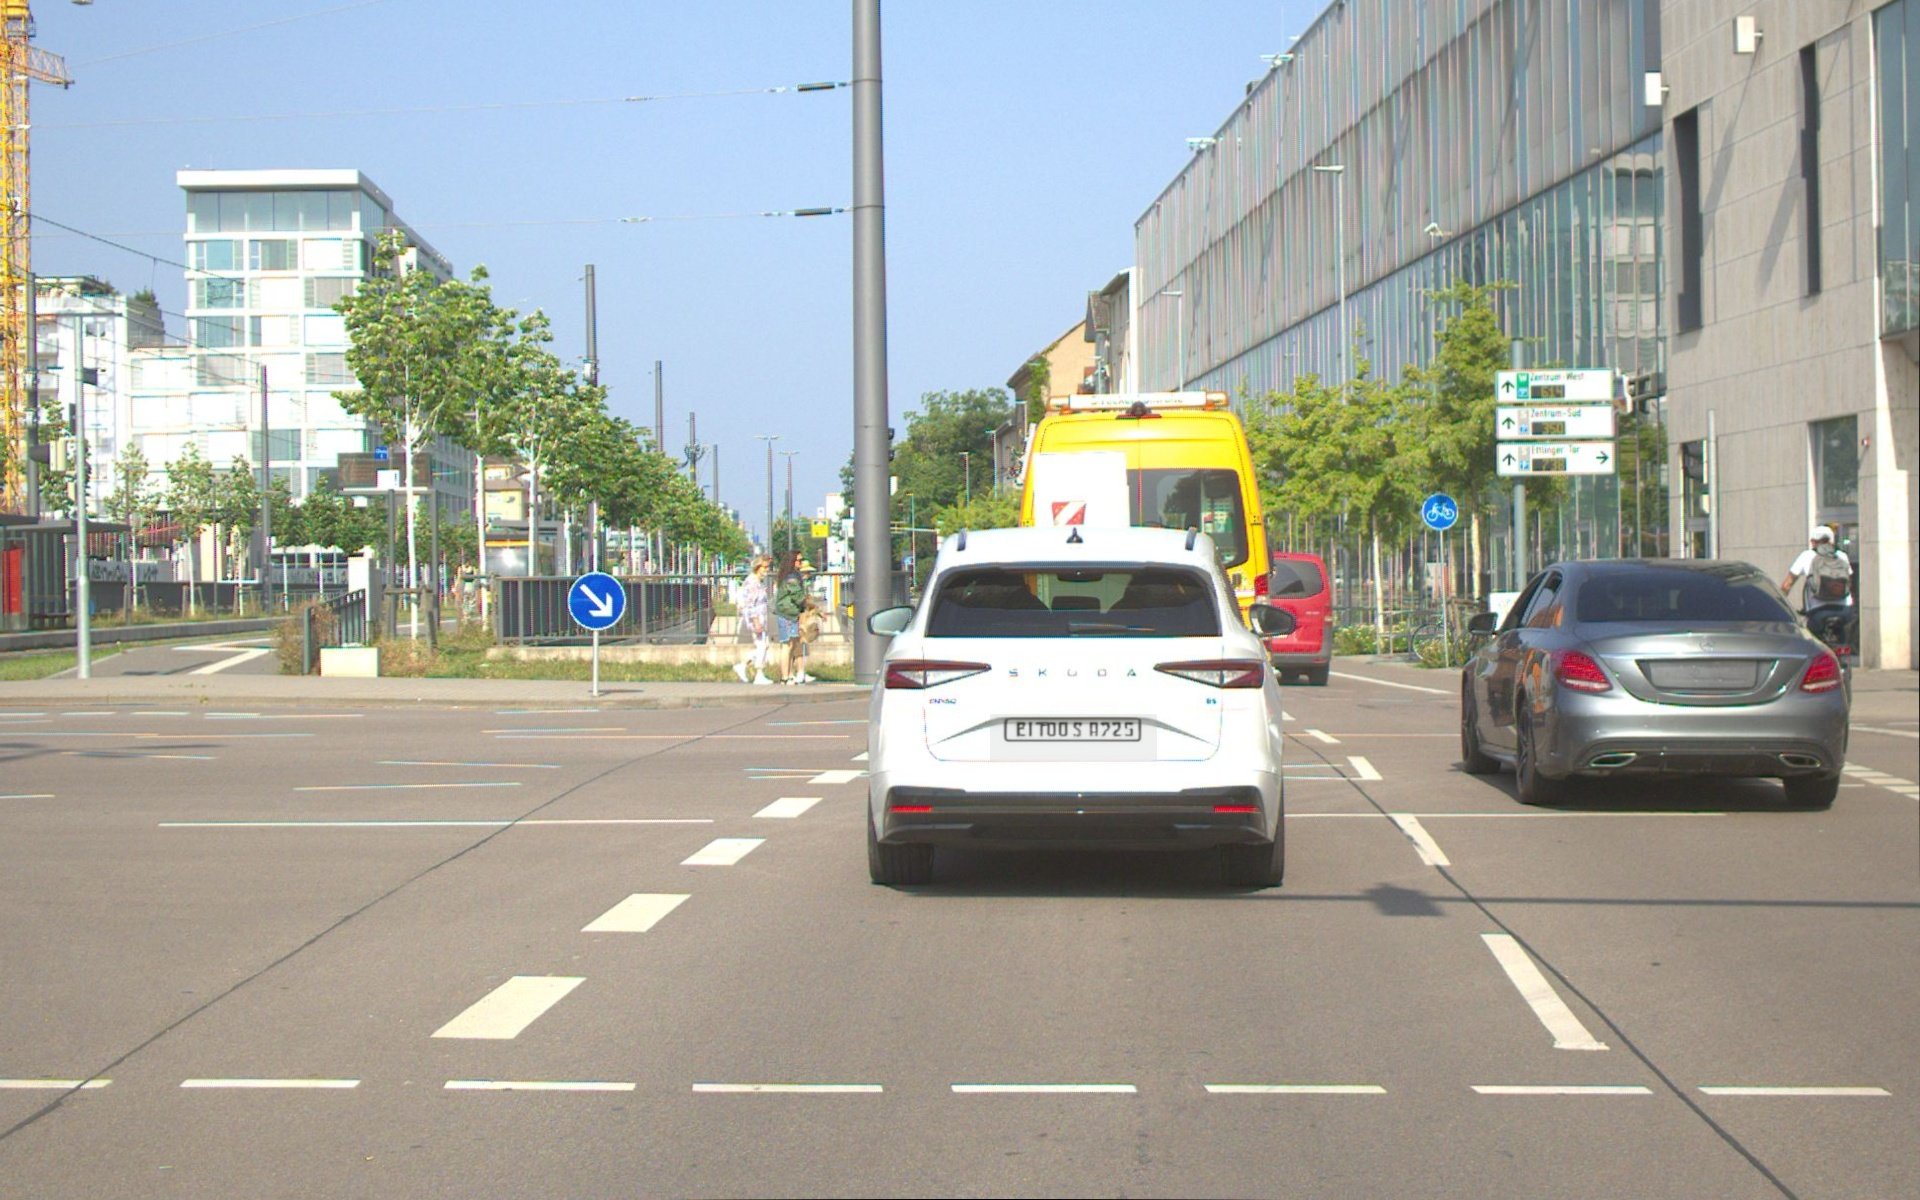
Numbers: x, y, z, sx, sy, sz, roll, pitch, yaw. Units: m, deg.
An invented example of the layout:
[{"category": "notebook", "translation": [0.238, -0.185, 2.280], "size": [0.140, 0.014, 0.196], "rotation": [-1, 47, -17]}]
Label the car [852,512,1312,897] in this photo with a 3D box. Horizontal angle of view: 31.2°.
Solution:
[{"category": "car", "translation": [0.445, 0.407, 16.220], "size": [1.869, 1.569, 4.000], "rotation": [-1, 1, -2]}]

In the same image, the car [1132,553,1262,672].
[{"category": "car", "translation": [3.826, 0.191, 56.037], "size": [1.709, 1.856, 3.794], "rotation": [1, 0, -2]}]

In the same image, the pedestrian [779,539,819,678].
[{"category": "pedestrian", "translation": [-1.924, 0.094, 41.101], "size": [0.467, 1.644, 0.777], "rotation": [0, 1, -2]}]

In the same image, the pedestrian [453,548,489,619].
[{"category": "pedestrian", "translation": [-11.237, -0.386, 79.011], "size": [0.735, 1.613, 0.711], "rotation": [0, 0, -3]}]

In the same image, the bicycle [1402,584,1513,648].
[{"category": "bicycle", "translation": [8.831, 0.290, 61.059], "size": [1.878, 1.105, 0.490], "rotation": [-1, 1, 0]}]

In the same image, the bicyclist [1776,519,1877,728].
[{"category": "bicyclist", "translation": [7.371, 0.191, 29.261], "size": [0.651, 1.743, 0.769], "rotation": [-1, 1, 0]}]

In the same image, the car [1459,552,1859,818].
[{"category": "car", "translation": [4.099, 0.435, 20.761], "size": [1.760, 1.431, 4.115], "rotation": [-1, 1, 3]}]

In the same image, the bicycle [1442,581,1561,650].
[{"category": "bicycle", "translation": [8.961, 0.255, 56.882], "size": [1.839, 1.109, 0.687], "rotation": [1, 1, 0]}]

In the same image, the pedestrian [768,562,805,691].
[{"category": "pedestrian", "translation": [-2.246, 0.338, 44.550], "size": [0.467, 1.644, 0.777], "rotation": [0, 1, -2]}]

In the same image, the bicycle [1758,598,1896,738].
[{"category": "bicycle", "translation": [7.374, 0.561, 29.317], "size": [0.661, 1.113, 2.051], "rotation": [-1, 1, 0]}]

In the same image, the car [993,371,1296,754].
[{"category": "car", "translation": [1.380, -0.331, 27.864], "size": [2.020, 2.786, 5.401], "rotation": [-1, 1, -1]}]

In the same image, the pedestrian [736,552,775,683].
[{"category": "pedestrian", "translation": [-2.590, 0.214, 43.510], "size": [0.467, 1.644, 0.777], "rotation": [0, 1, -2]}]

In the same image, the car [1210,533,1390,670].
[{"category": "car", "translation": [4.768, -0.007, 48.766], "size": [1.950, 1.843, 4.436], "rotation": [-1, 1, -2]}]
